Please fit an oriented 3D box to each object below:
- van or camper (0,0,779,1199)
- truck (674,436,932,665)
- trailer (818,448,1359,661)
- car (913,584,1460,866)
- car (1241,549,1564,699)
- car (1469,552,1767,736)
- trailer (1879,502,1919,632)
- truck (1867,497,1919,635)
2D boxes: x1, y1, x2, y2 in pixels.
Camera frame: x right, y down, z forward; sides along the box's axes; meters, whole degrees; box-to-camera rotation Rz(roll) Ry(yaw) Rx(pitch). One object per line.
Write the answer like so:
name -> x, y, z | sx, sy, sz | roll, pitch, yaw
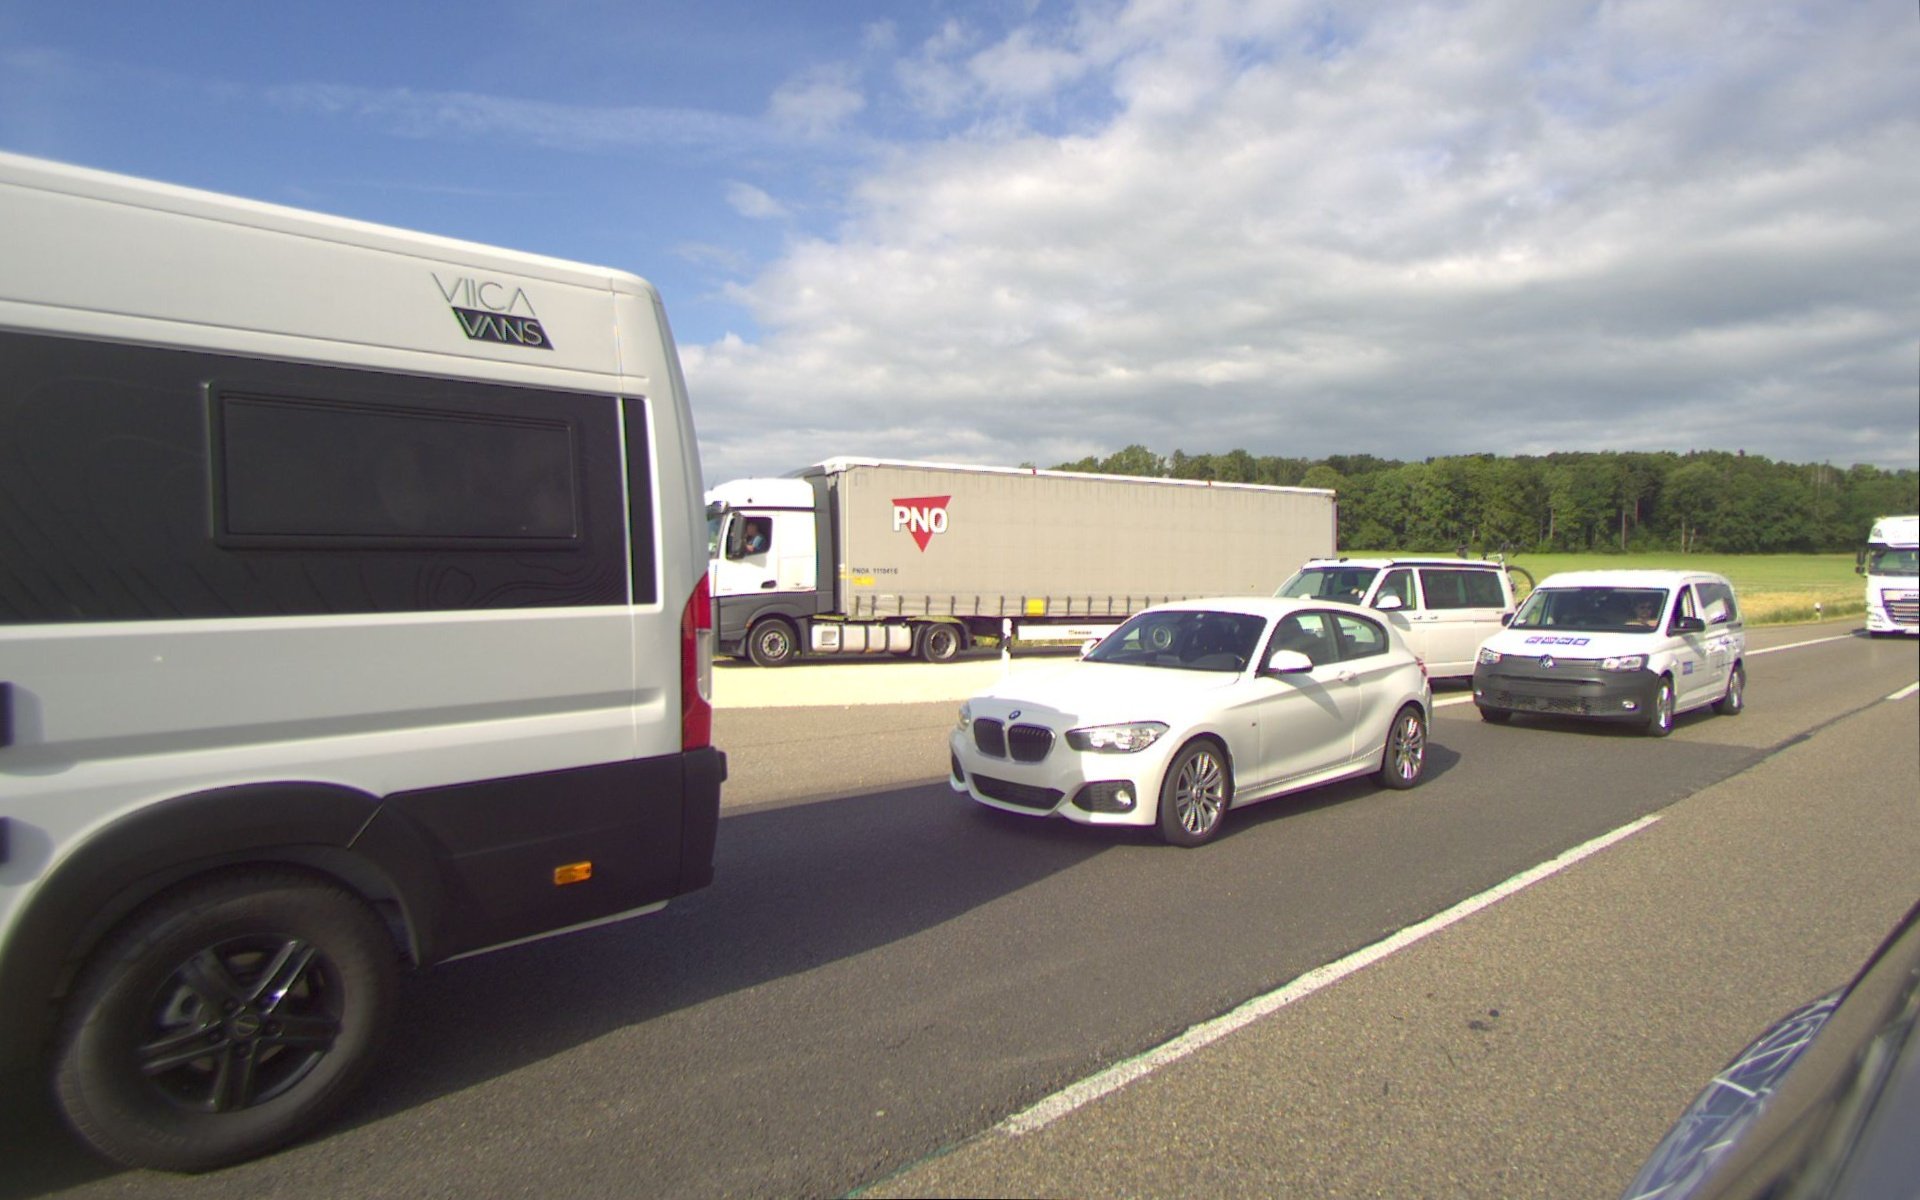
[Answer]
van or camper -> -3.668, 0.002, 2.189 | 6.222, 2.714, 2.219 | 0, 1, -41
truck -> -3.272, -0.924, 20.913 | 4.662, 4.226, 2.727 | 0, 0, -26
trailer -> 3.534, -0.905, 24.226 | 13.543, 4.213, 2.748 | 0, 0, -26
car -> 1.815, 0.623, 7.234 | 4.158, 1.450, 1.706 | 0, 0, -41
car -> 6.748, 0.293, 15.229 | 5.163, 1.949, 1.802 | 0, 0, -31
car -> 7.892, 0.414, 11.954 | 4.620, 1.779, 1.727 | 0, 0, -41
trailer -> 36.655, -1.209, 37.224 | 13.777, 4.212, 2.739 | -1, 1, -41
truck -> 31.790, -1.096, 32.941 | 5.667, 4.226, 2.733 | -1, 1, -41
